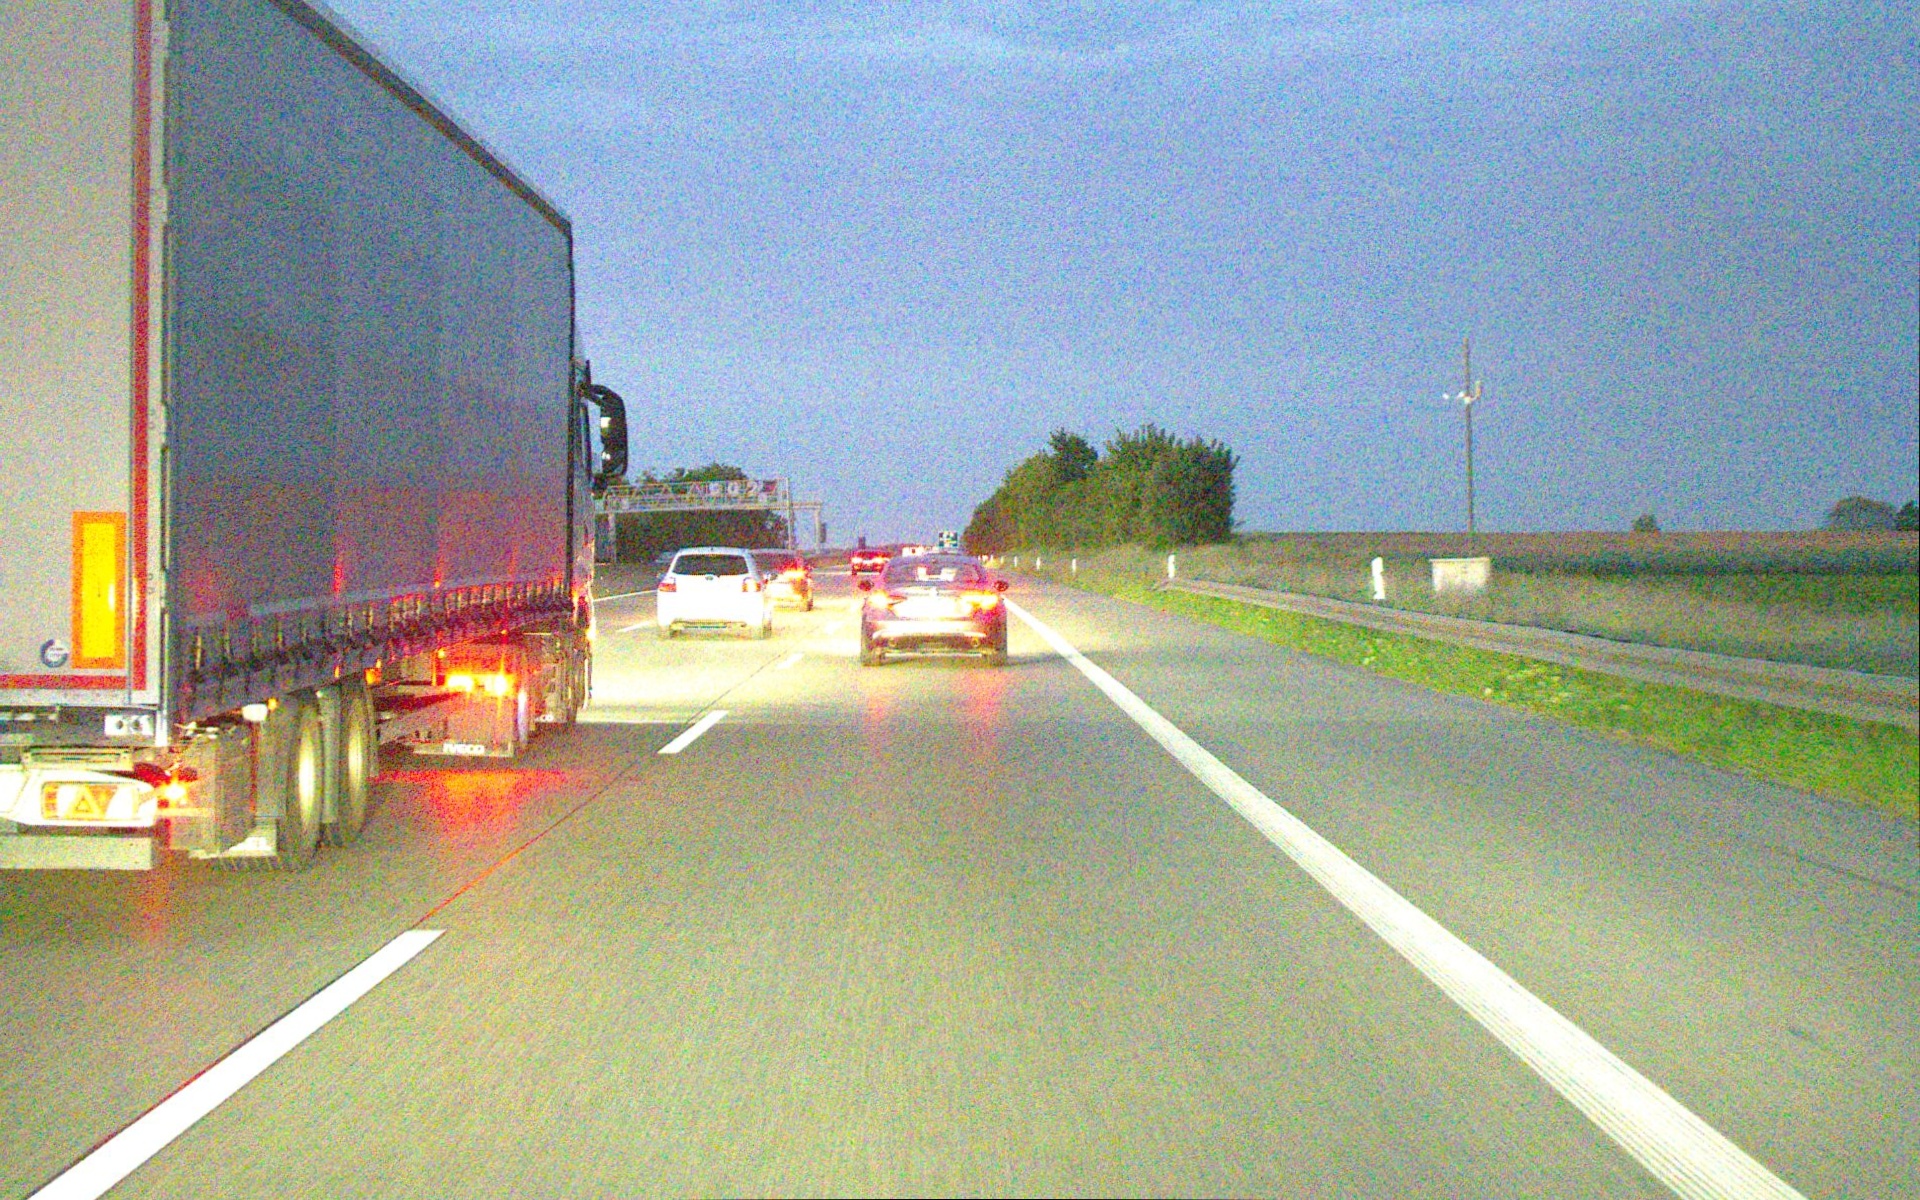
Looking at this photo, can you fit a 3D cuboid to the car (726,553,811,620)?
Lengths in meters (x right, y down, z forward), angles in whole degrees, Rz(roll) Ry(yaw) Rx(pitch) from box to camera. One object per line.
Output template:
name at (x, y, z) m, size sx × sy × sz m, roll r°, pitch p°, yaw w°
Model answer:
car at (-4.373, -0.319, 78.914) m, size 1.722 × 1.466 × 4.726 m, roll 1°, pitch 0°, yaw -1°

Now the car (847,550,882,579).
car at (-5.336, -1.997, 193.109) m, size 1.880 × 1.547 × 4.000 m, roll 1°, pitch 0°, yaw -1°

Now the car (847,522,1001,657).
car at (-0.461, -0.145, 44.631) m, size 1.880 × 1.637 × 4.000 m, roll 1°, pitch 0°, yaw 0°

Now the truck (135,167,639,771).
truck at (-4.170, -0.910, 26.345) m, size 2.777 × 4.079 × 6.103 m, roll 0°, pitch 0°, yaw 1°

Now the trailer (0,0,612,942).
trailer at (-4.223, -0.828, 19.947) m, size 2.794 × 4.071 × 14.525 m, roll 0°, pitch 0°, yaw 1°

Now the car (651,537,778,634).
car at (-4.036, -0.249, 57.131) m, size 1.744 × 1.519 × 4.414 m, roll 1°, pitch 0°, yaw 0°

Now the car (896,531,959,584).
car at (-1.005, -1.289, 105.341) m, size 1.880 × 1.547 × 4.000 m, roll 1°, pitch 0°, yaw -1°
